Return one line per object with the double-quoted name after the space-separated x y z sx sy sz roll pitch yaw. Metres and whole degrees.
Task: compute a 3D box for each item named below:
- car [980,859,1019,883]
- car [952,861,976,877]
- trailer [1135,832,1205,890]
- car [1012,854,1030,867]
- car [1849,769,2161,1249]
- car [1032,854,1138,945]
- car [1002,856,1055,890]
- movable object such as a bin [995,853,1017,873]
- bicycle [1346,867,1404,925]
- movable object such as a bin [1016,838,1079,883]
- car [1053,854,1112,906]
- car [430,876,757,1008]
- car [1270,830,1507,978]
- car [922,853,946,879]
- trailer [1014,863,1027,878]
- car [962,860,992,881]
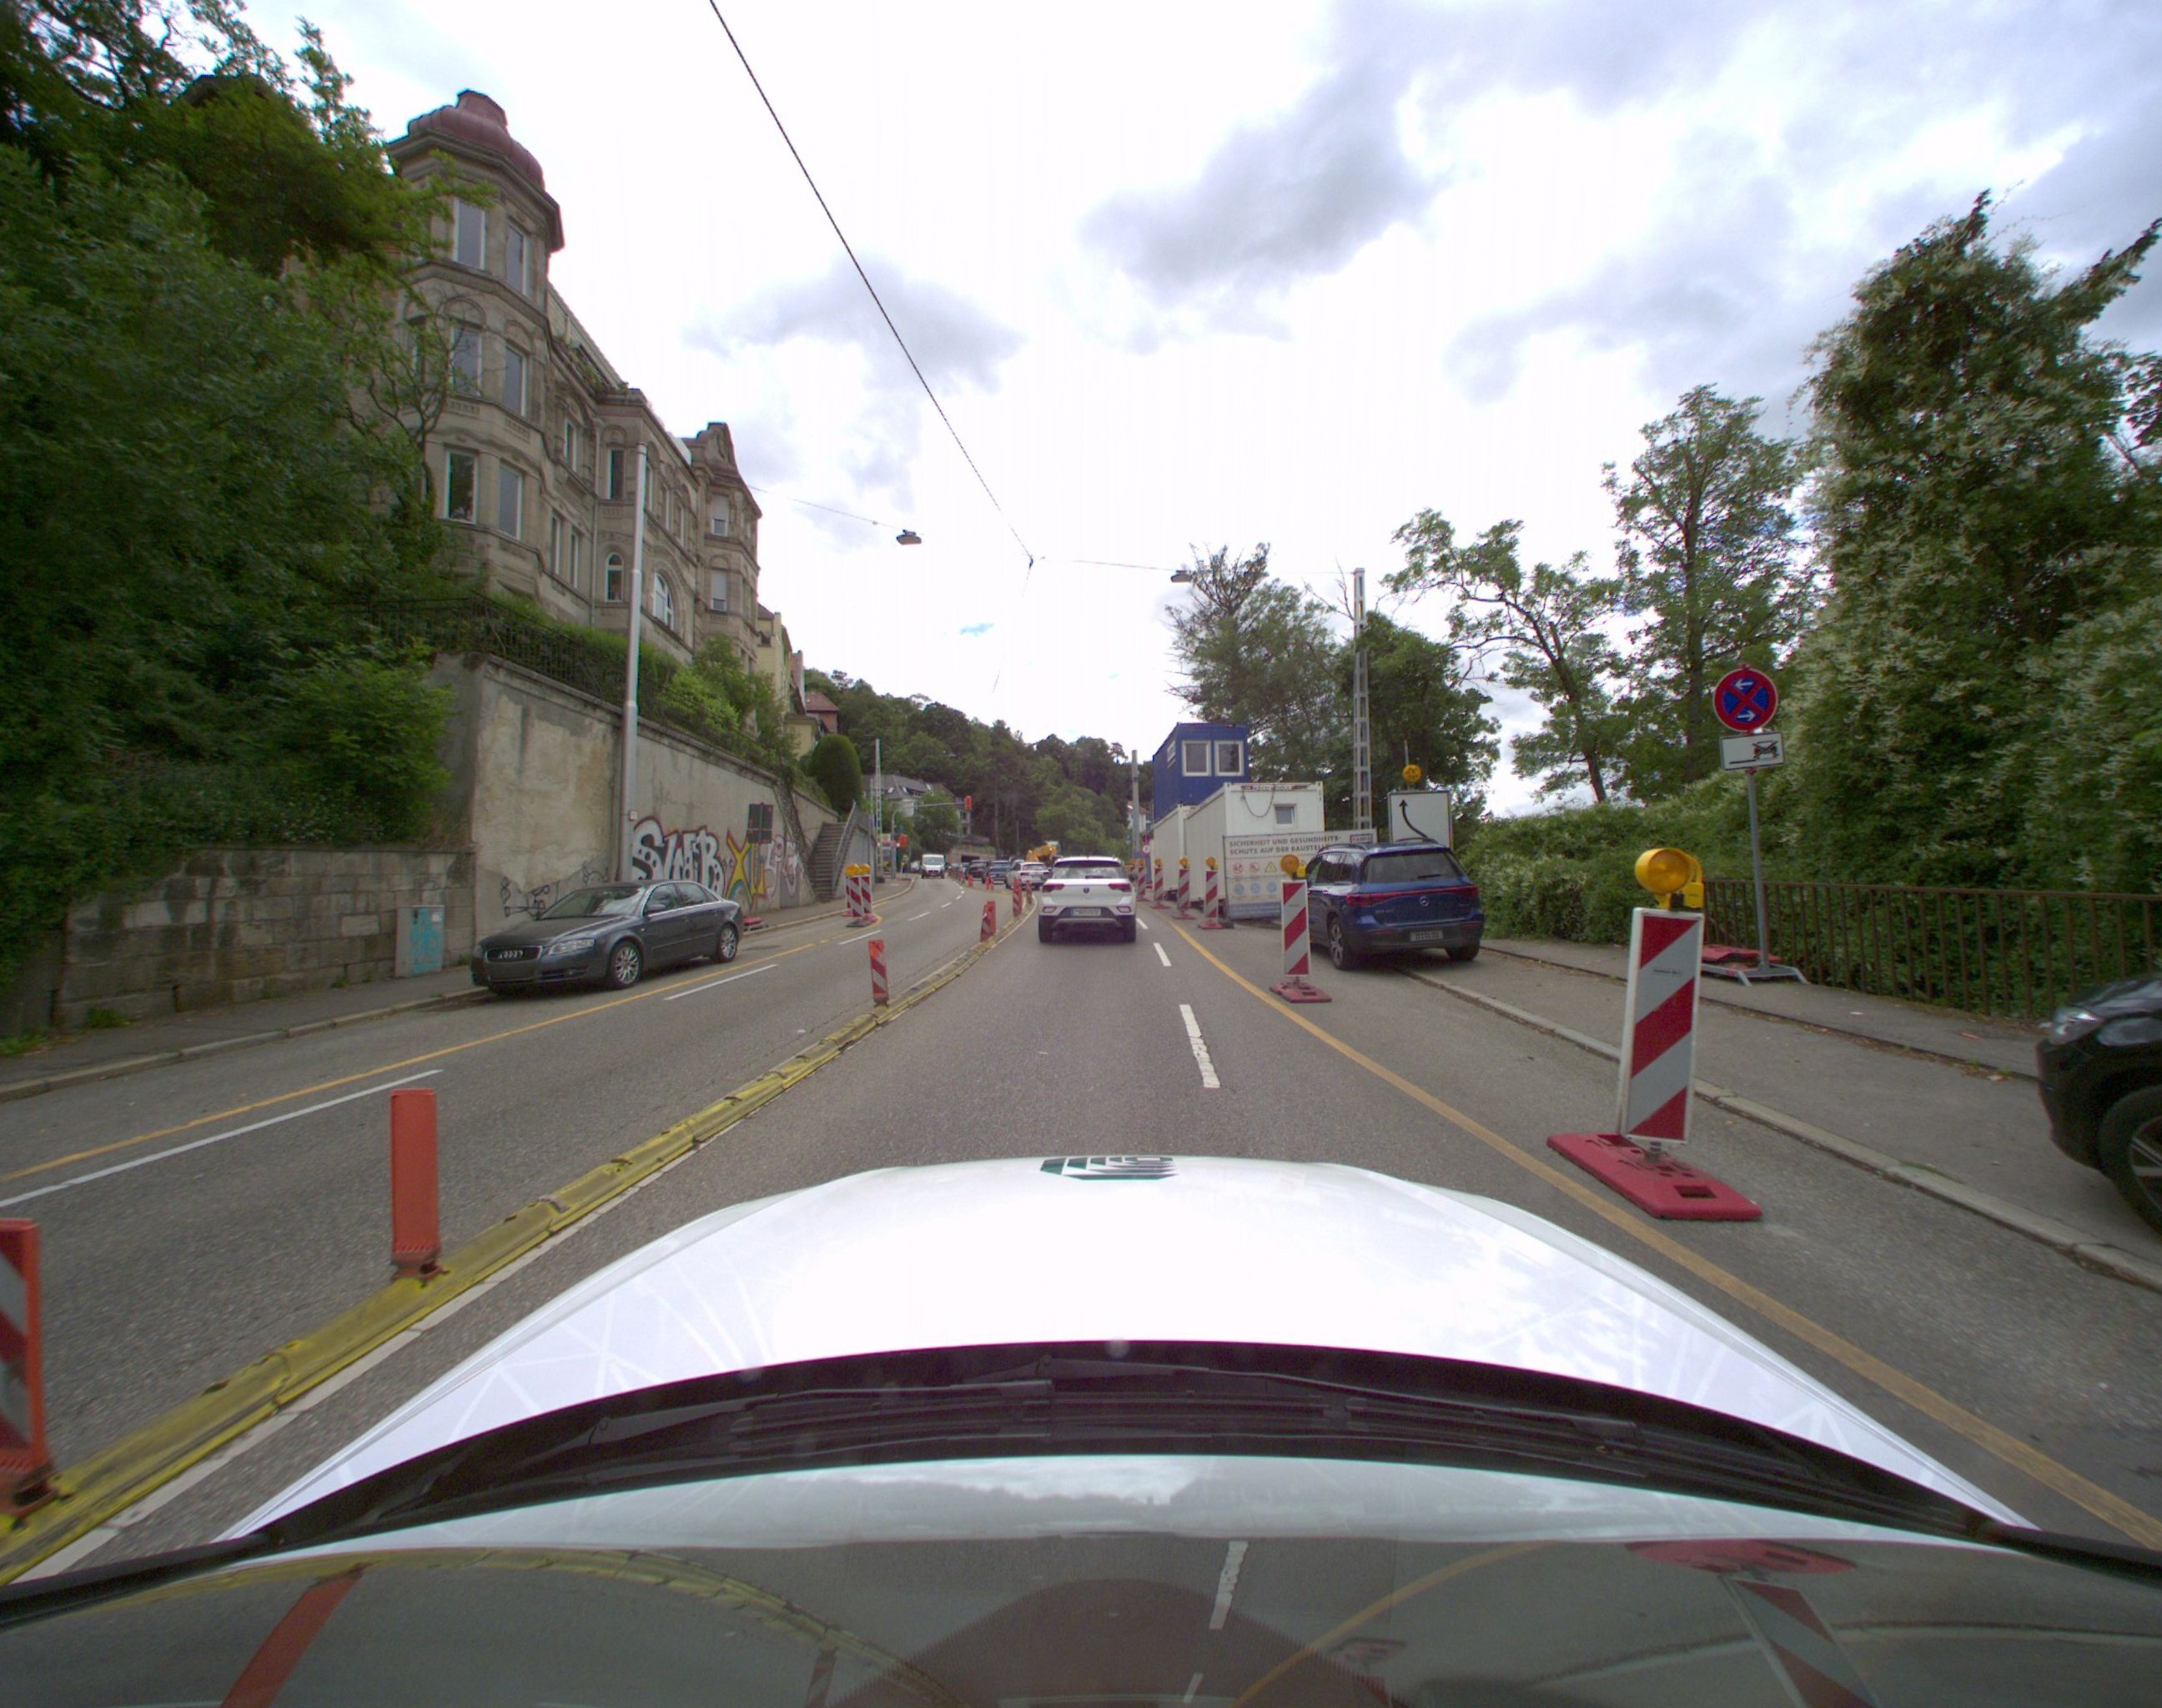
-5.477 1.142 54.314 1.799 1.510 3.975 -1 0 -18 "car"
-11.733 1.500 81.511 1.798 1.510 3.979 -3 0 -15 "car"
4.223 0.327 39.728 2.106 2.550 5.104 -2 0 -8 "trailer"
-7.064 0.793 95.050 1.793 1.510 3.988 -1 -1 -8 "car"
4.641 0.465 1.583 1.855 1.674 4.648 -6 -1 2 "car"
0.171 0.796 16.037 1.802 1.531 4.003 -1 0 3 "car"
-2.834 0.983 43.227 1.815 1.663 3.974 -1 0 -19 "car"
-10.293 1.197 112.272 2.201 2.663 4.952 0 0 5 "movable object such as a bin"
6.077 0.839 16.905 0.497 1.107 1.800 -3 0 0 "bicycle"
-2.570 0.485 59.257 2.817 3.071 7.780 1 -1 -16 "movable object such as a bin"
-0.018 0.868 28.877 1.806 1.663 3.994 -1 0 -4 "car"
-6.649 1.104 11.822 1.791 1.373 4.393 -3 0 4 "car"
4.273 0.630 12.190 1.833 1.642 4.504 -5 -1 2 "car"
-13.401 1.044 74.428 2.067 2.187 4.946 -2 0 -10 "car"
-6.525 1.758 87.268 1.286 1.475 3.626 0 -1 -5 "trailer"
-8.476 1.315 66.068 1.798 1.510 3.979 -3 0 -15 "car"
